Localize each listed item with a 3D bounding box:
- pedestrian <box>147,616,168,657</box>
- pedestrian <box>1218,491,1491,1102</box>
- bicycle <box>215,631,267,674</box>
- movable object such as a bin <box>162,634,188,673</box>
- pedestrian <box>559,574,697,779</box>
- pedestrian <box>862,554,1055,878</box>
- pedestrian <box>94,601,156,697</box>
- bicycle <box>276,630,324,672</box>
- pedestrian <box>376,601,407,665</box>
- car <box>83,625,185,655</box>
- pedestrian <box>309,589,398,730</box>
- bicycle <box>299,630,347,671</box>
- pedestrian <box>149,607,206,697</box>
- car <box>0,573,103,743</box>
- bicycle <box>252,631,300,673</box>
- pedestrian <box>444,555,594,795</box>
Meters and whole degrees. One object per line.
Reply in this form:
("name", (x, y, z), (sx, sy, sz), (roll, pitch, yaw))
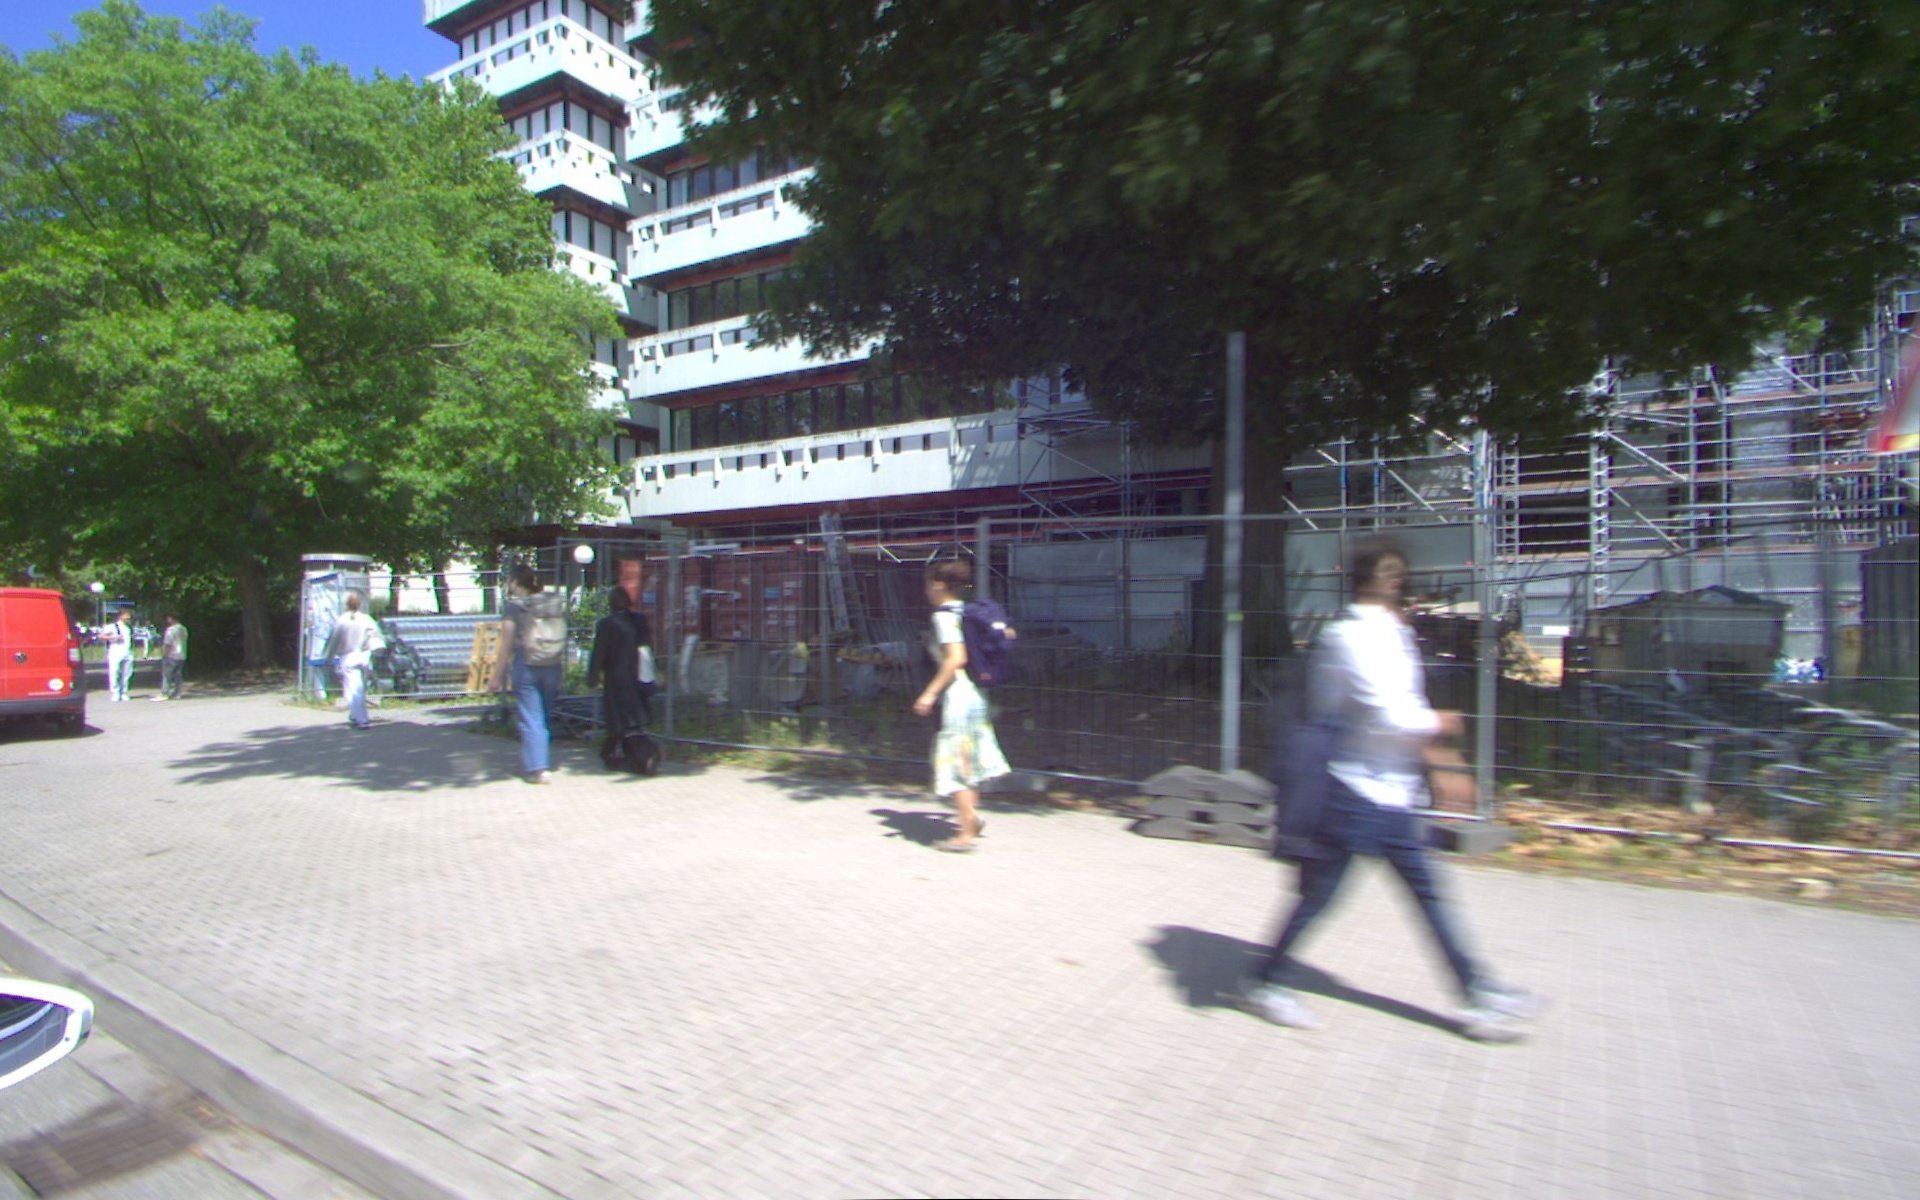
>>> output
("pedestrian", (-37.875, 1.716, 47.258), (0.664, 1.897, 0.788), (0, 0, -30))
("pedestrian", (1.351, 0.588, 3.432), (0.774, 1.804, 0.694), (-1, 0, 25))
("bicycle", (-19.763, 1.433, 27.519), (1.848, 1.133, 0.617), (-1, -1, 36))
("movable object such as a bin", (-22.483, 1.520, 28.691), (0.499, 1.086, 0.487), (-1, 0, 38))
("pedestrian", (-2.822, 0.616, 8.502), (0.972, 1.621, 0.666), (-1, 0, 37))
("pedestrian", (0.001, 0.616, 5.711), (0.890, 1.688, 0.649), (-1, 0, 28))
("pedestrian", (-16.411, 0.947, 19.700), (0.618, 1.845, 0.723), (-1, 0, -5))
("bicycle", (-18.446, 1.405, 27.983), (1.911, 1.133, 0.497), (-1, -1, 36))
("pedestrian", (-16.855, 0.979, 29.675), (0.752, 1.861, 0.541), (-1, 0, 37))
("car", (-47.848, 2.286, 58.138), (4.446, 1.545, 1.797), (-1, 0, -38))
("pedestrian", (-7.416, 0.712, 12.241), (0.702, 1.653, 0.710), (-1, 0, 36))
("bicycle", (-18.050, 1.424, 28.352), (1.848, 1.133, 0.497), (-1, -1, 36))
("pedestrian", (-15.493, 1.017, 19.844), (0.553, 1.732, 0.745), (-1, 0, -5))
("car", (-12.656, 0.692, 12.820), (4.834, 1.916, 1.839), (-1, 0, 41))
("bicycle", (-18.858, 1.419, 27.596), (1.848, 1.133, 0.497), (-1, -1, 36))
("pedestrian", (-3.526, 0.568, 8.024), (0.706, 1.787, 0.847), (-1, 0, 37))
